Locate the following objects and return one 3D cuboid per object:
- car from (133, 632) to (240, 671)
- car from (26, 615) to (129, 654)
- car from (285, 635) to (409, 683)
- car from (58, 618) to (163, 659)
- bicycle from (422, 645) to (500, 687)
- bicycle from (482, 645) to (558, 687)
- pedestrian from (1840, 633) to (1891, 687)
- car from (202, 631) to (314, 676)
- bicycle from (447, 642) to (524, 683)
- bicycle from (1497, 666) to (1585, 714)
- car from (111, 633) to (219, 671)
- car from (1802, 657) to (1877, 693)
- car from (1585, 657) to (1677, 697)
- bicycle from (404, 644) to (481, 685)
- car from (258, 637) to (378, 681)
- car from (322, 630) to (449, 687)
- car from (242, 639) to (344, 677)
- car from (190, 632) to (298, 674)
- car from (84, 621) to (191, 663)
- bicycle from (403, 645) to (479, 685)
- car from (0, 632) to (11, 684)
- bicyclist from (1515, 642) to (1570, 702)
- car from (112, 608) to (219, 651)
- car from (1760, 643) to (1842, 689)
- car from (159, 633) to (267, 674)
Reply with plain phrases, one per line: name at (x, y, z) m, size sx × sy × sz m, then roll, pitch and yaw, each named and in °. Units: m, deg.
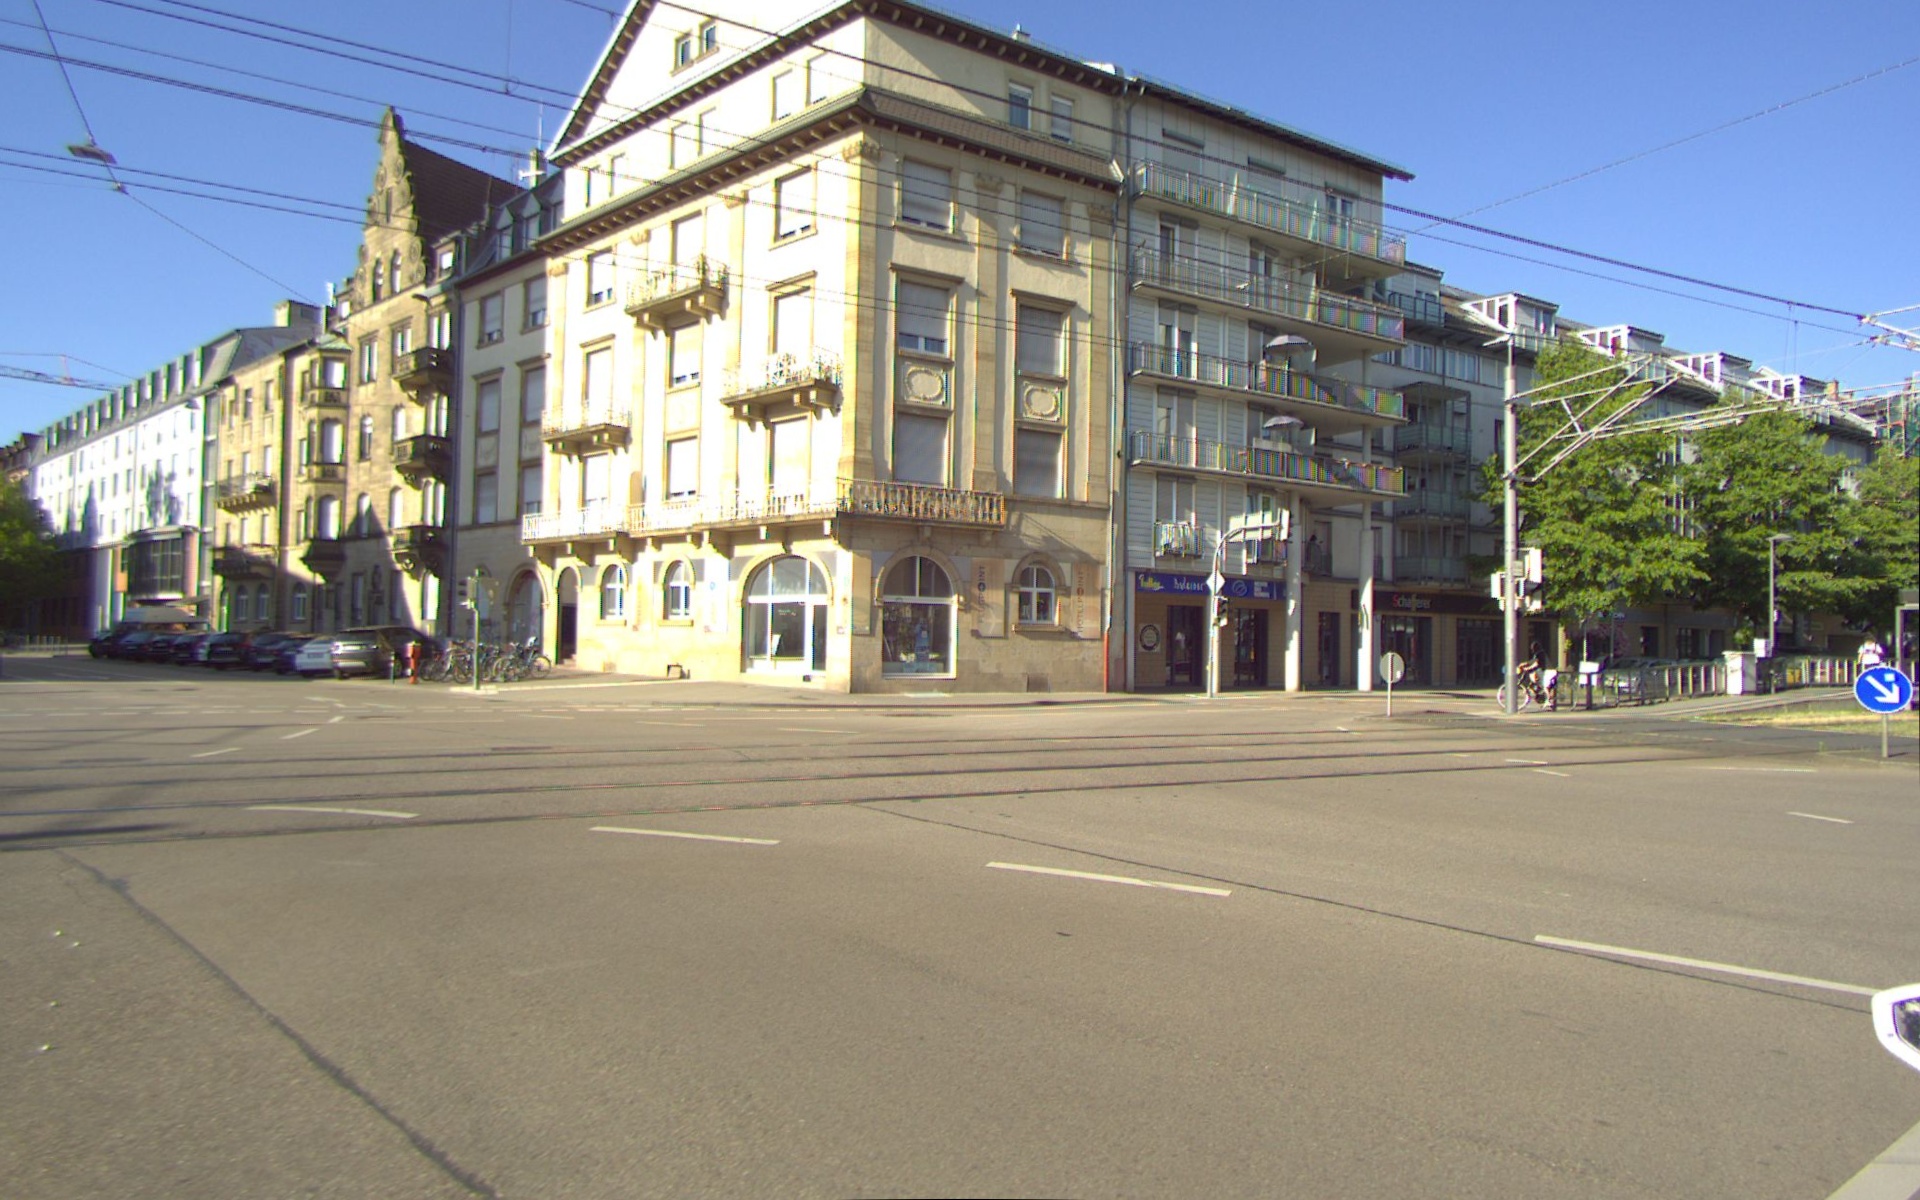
car at (-35.330, 2.331, 46.014) m, size 1.812 × 1.541 × 3.999 m, roll -2°, pitch 0°, yaw -2°
car at (-48.076, 1.867, 54.851) m, size 1.750 × 1.929 × 4.002 m, roll -2°, pitch 0°, yaw 8°
car at (-21.518, 2.037, 35.456) m, size 1.961 × 1.374 × 3.999 m, roll -2°, pitch 0°, yaw -2°
car at (-44.228, 1.991, 52.418) m, size 1.750 × 1.929 × 4.002 m, roll -2°, pitch 0°, yaw 8°
bicycle at (-15.313, 2.018, 30.881) m, size 0.544 × 1.206 × 2.120 m, roll 2°, pitch -1°, yaw 35°
bicycle at (-13.485, 1.994, 30.835) m, size 0.520 × 1.206 × 2.120 m, roll 2°, pitch -1°, yaw 35°
pedestrian at (27.945, 1.859, 30.989) m, size 0.947 × 1.602 × 0.895 m, roll 2°, pitch 0°, yaw -30°
car at (-28.452, 2.138, 40.879) m, size 1.812 × 1.541 × 3.999 m, roll -2°, pitch 0°, yaw -2°
bicycle at (-14.443, 1.886, 30.643) m, size 0.520 × 1.206 × 2.120 m, roll 2°, pitch -1°, yaw 35°
bicycle at (13.859, 2.133, 23.987) m, size 1.789 × 1.067 × 0.535 m, roll 1°, pitch -1°, yaw 0°
car at (-37.449, 2.409, 47.450) m, size 1.811 × 1.541 × 4.001 m, roll -2°, pitch 0°, yaw 2°
car at (46.759, 4.000, 53.399) m, size 3.738 × 1.752 × 1.799 m, roll 3°, pitch -1°, yaw -28°
car at (29.396, 3.365, 43.969) m, size 3.738 × 1.599 × 1.799 m, roll 3°, pitch -1°, yaw -28°
bicycle at (-16.082, 1.982, 31.270) m, size 0.520 × 1.206 × 2.120 m, roll 2°, pitch -1°, yaw 35°
car at (-23.889, 2.156, 37.593) m, size 1.961 × 1.374 × 3.999 m, roll -2°, pitch 0°, yaw -2°
car at (-19.050, 1.886, 33.541) m, size 1.961 × 1.606 × 3.999 m, roll -2°, pitch 0°, yaw -2°
car at (-26.140, 2.257, 39.510) m, size 1.560 × 1.227 × 3.790 m, roll -2°, pitch 0°, yaw -2°
car at (-30.733, 2.236, 43.241) m, size 1.812 × 1.541 × 3.999 m, roll -2°, pitch 0°, yaw -2°
car at (-41.388, 2.082, 50.644) m, size 1.750 × 1.929 × 4.002 m, roll -2°, pitch 0°, yaw 8°
bicycle at (-16.494, 2.044, 31.972) m, size 0.520 × 1.206 × 2.118 m, roll 2°, pitch -1°, yaw 37°
car at (-29.815, 1.651, 29.808) m, size 4.220 × 1.438 × 1.835 m, roll 1°, pitch -1°, yaw 39°
bicyclist at (13.907, 1.707, 24.002) m, size 0.999 × 1.390 × 0.535 m, roll 1°, pitch -1°, yaw 0°
car at (-39.314, 1.420, 49.837) m, size 1.750 × 1.929 × 4.002 m, roll -2°, pitch 0°, yaw 8°
car at (43.053, 3.388, 51.428) m, size 3.738 × 2.195 × 1.932 m, roll 2°, pitch -1°, yaw -28°
car at (-32.901, 2.310, 44.368) m, size 1.812 × 1.541 × 3.999 m, roll -2°, pitch 0°, yaw -2°
